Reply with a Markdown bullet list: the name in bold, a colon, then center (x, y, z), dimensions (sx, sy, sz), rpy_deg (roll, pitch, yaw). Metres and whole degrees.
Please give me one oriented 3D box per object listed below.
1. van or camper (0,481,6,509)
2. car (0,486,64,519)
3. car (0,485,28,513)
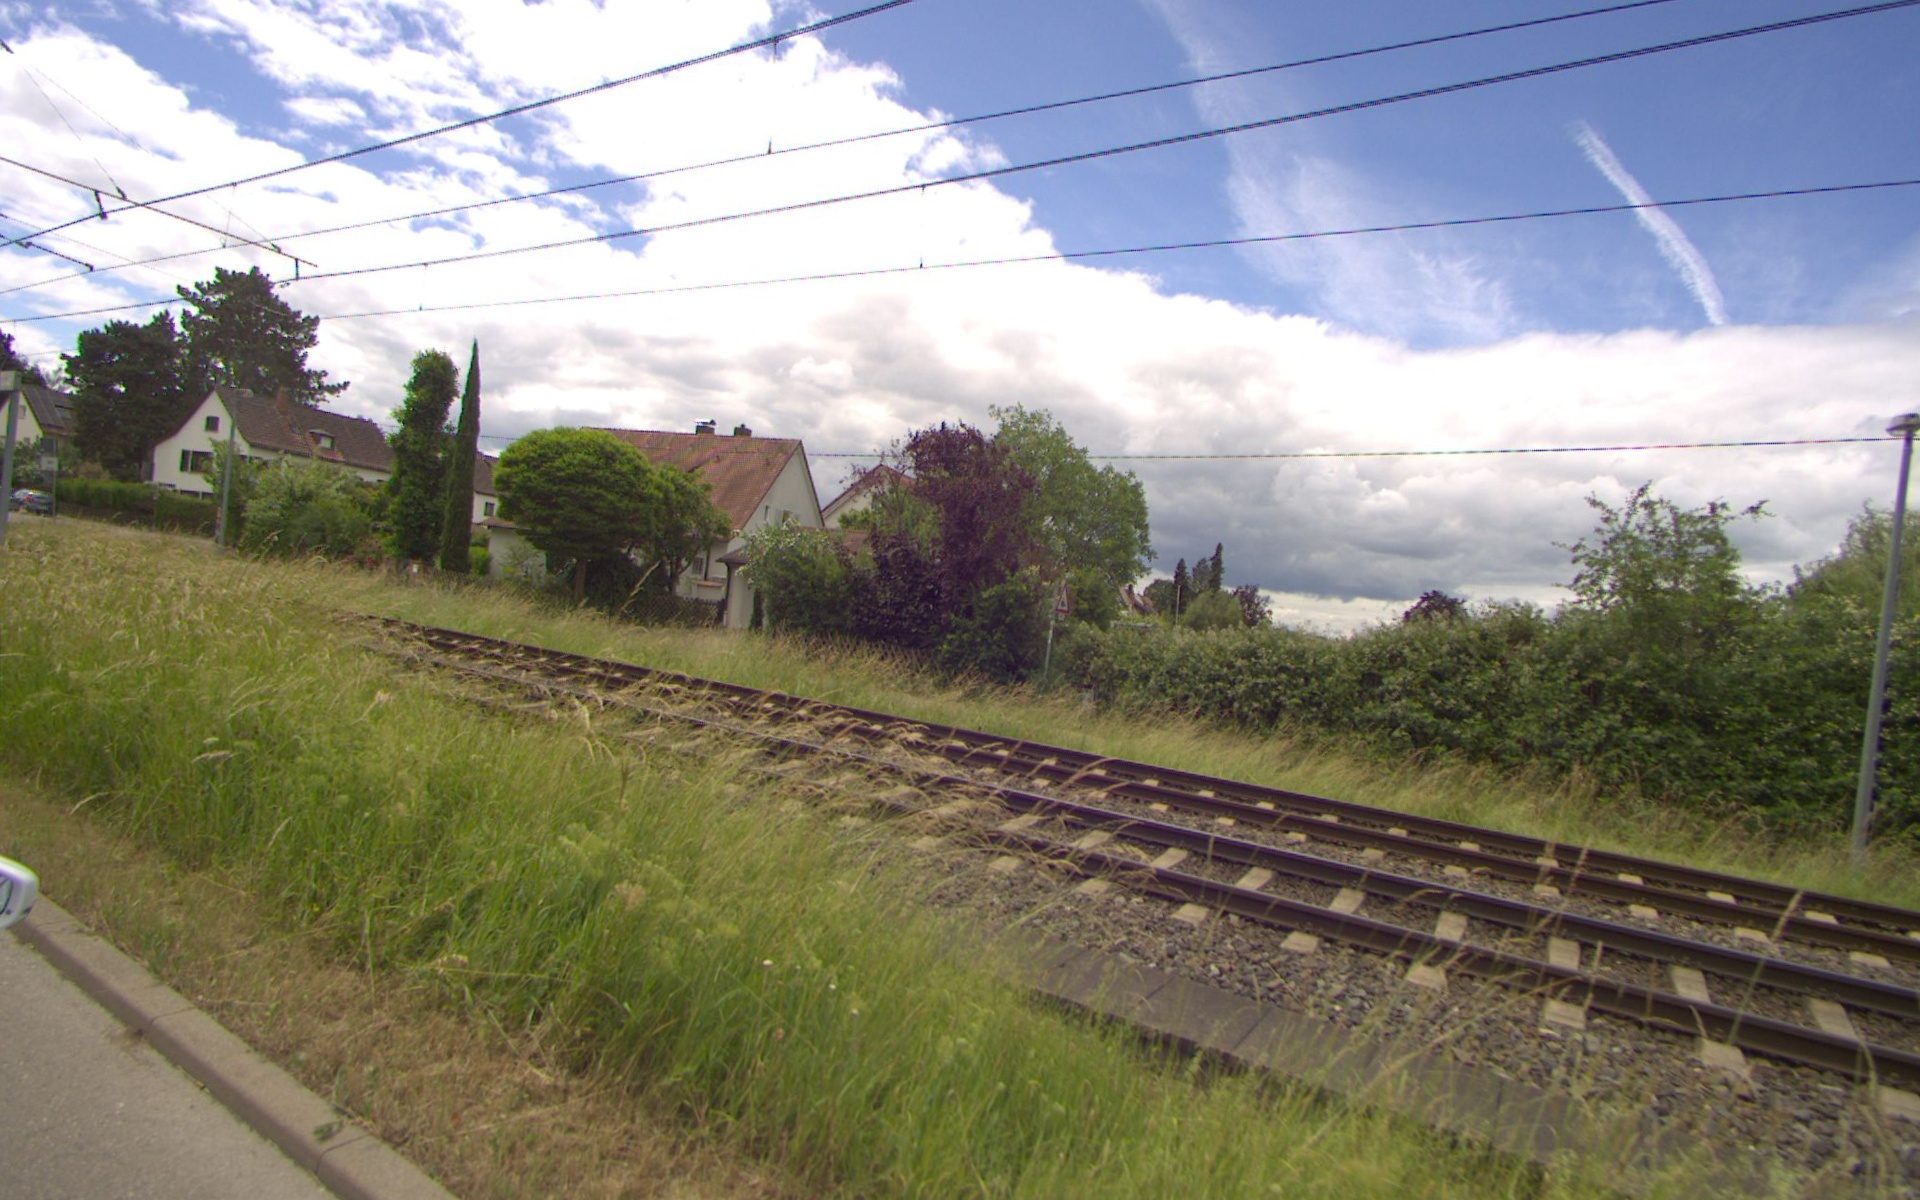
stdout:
- **van or camper**: center (-66.443, -7.305, 67.777), dimensions (4.965, 1.848, 1.907), rpy_deg (7, 0, 33)
- **car**: center (-57.385, -6.034, 62.184), dimensions (3.935, 1.541, 1.885), rpy_deg (7, 0, 33)
- **car**: center (-62.430, -6.679, 65.268), dimensions (3.935, 1.541, 1.885), rpy_deg (7, 0, 33)
